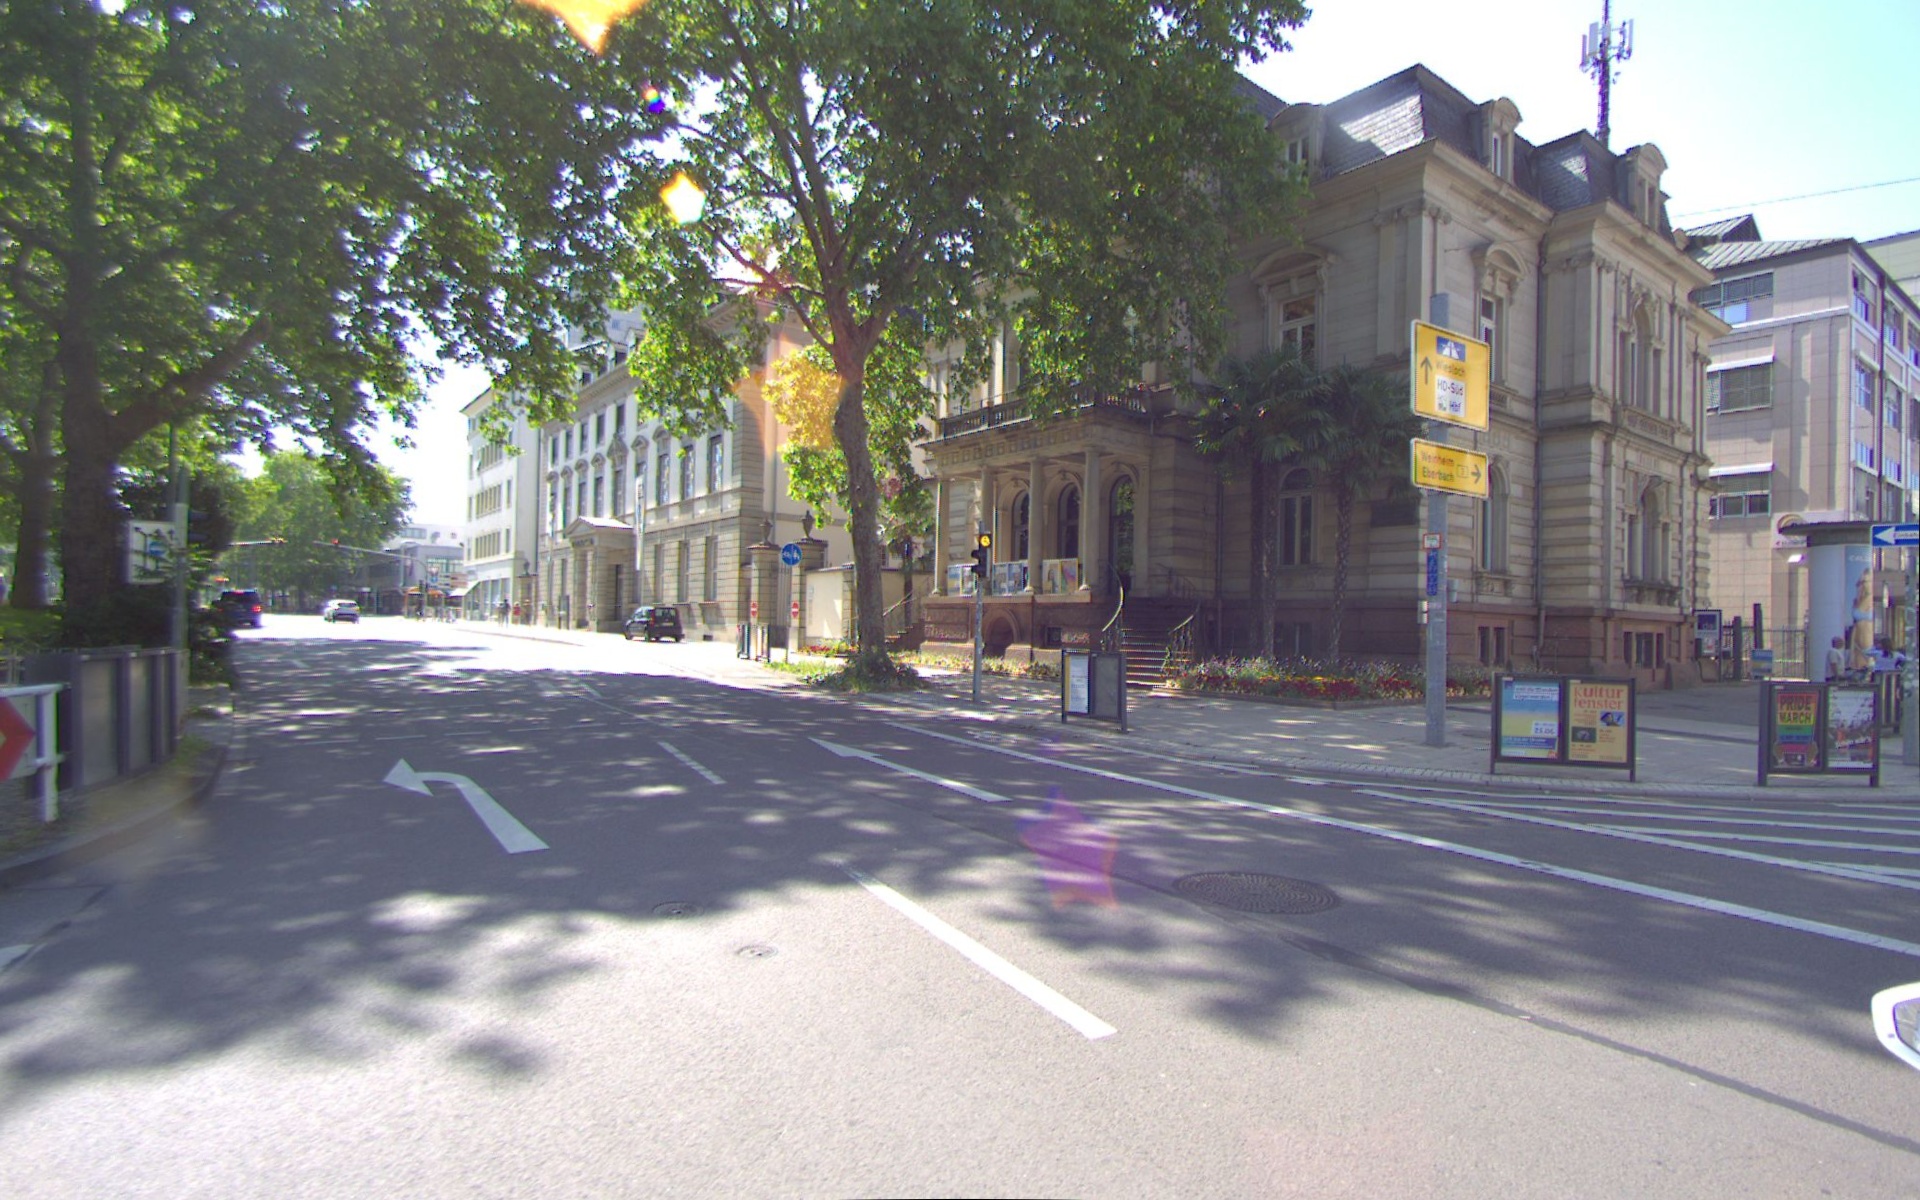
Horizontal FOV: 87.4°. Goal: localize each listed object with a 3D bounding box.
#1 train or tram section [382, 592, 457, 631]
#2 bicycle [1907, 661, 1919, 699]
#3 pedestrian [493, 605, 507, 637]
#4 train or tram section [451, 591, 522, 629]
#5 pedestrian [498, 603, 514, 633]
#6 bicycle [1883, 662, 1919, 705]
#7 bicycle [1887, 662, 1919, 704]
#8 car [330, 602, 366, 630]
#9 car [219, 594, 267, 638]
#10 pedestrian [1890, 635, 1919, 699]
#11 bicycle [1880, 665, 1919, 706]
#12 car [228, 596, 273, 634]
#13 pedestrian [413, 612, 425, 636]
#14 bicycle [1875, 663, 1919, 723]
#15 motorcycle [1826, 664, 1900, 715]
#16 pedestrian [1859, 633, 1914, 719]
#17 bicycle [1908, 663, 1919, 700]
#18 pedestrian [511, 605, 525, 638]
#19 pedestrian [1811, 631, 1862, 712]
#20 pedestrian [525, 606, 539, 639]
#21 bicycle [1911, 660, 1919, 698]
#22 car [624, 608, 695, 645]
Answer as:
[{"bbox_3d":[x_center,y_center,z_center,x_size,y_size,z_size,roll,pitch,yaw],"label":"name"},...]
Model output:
[{"bbox_3d":[-54.663,1.211,101.732,6.259,3.732,2.147,1,-1,-13],"label":"train or tram section"},{"bbox_3d":[29.526,2.446,29.824,0.505,1.135,1.957,3,-1,-40],"label":"bicycle"},{"bbox_3d":[-29.885,1.369,65.239,0.688,2.040,0.829,3,-3,-29],"label":"pedestrian"},{"bbox_3d":[-48.598,1.066,103.219,6.175,3.732,2.147,1,-1,-13],"label":"train or tram section"},{"bbox_3d":[-27.945,1.129,61.850,0.690,1.810,0.827,2,-1,-37],"label":"pedestrian"},{"bbox_3d":[26.703,2.338,27.592,1.938,1.135,0.554,2,-1,42],"label":"bicycle"},{"bbox_3d":[27.280,2.362,27.904,2.211,1.135,0.554,2,-1,42],"label":"bicycle"},{"bbox_3d":[-40.674,1.035,66.709,1.832,1.758,4.020,1,0,-34],"label":"car"},{"bbox_3d":[-37.749,0.823,52.979,1.916,2.196,4.020,1,0,-34],"label":"car"},{"bbox_3d":[26.852,1.880,28.318,0.743,1.748,0.880,2,-1,-44],"label":"pedestrian"},{"bbox_3d":[26.176,2.354,27.100,1.940,1.031,0.667,2,-1,42],"label":"bicycle"},{"bbox_3d":[-40.461,0.842,57.347,1.916,2.108,4.020,1,-1,-34],"label":"car"},{"bbox_3d":[-42.088,1.864,78.137,0.690,1.810,0.827,2,-1,-37],"label":"pedestrian"},{"bbox_3d":[19.259,1.887,20.244,2.214,1.135,0.428,4,-1,-27],"label":"bicycle"},{"bbox_3d":[19.062,1.877,21.186,2.134,1.011,0.452,3,0,-28],"label":"motorcycle"},{"bbox_3d":[18.903,1.546,20.502,0.684,1.717,0.690,3,-3,-35],"label":"pedestrian"},{"bbox_3d":[29.017,2.419,29.377,0.552,1.087,1.828,4,-3,-40],"label":"bicycle"},{"bbox_3d":[-28.428,1.391,64.547,0.688,2.040,0.829,3,-3,-29],"label":"pedestrian"},{"bbox_3d":[18.822,1.527,21.562,0.925,1.687,0.547,3,-3,-29],"label":"pedestrian"},{"bbox_3d":[-27.607,1.461,64.797,0.688,2.040,0.829,3,-3,-29],"label":"pedestrian"},{"bbox_3d":[29.983,2.438,30.208,0.505,1.135,1.950,3,-2,-40],"label":"bicycle"},{"bbox_3d":[-13.371,1.155,44.493,1.916,1.514,4.020,1,0,-34],"label":"car"}]
